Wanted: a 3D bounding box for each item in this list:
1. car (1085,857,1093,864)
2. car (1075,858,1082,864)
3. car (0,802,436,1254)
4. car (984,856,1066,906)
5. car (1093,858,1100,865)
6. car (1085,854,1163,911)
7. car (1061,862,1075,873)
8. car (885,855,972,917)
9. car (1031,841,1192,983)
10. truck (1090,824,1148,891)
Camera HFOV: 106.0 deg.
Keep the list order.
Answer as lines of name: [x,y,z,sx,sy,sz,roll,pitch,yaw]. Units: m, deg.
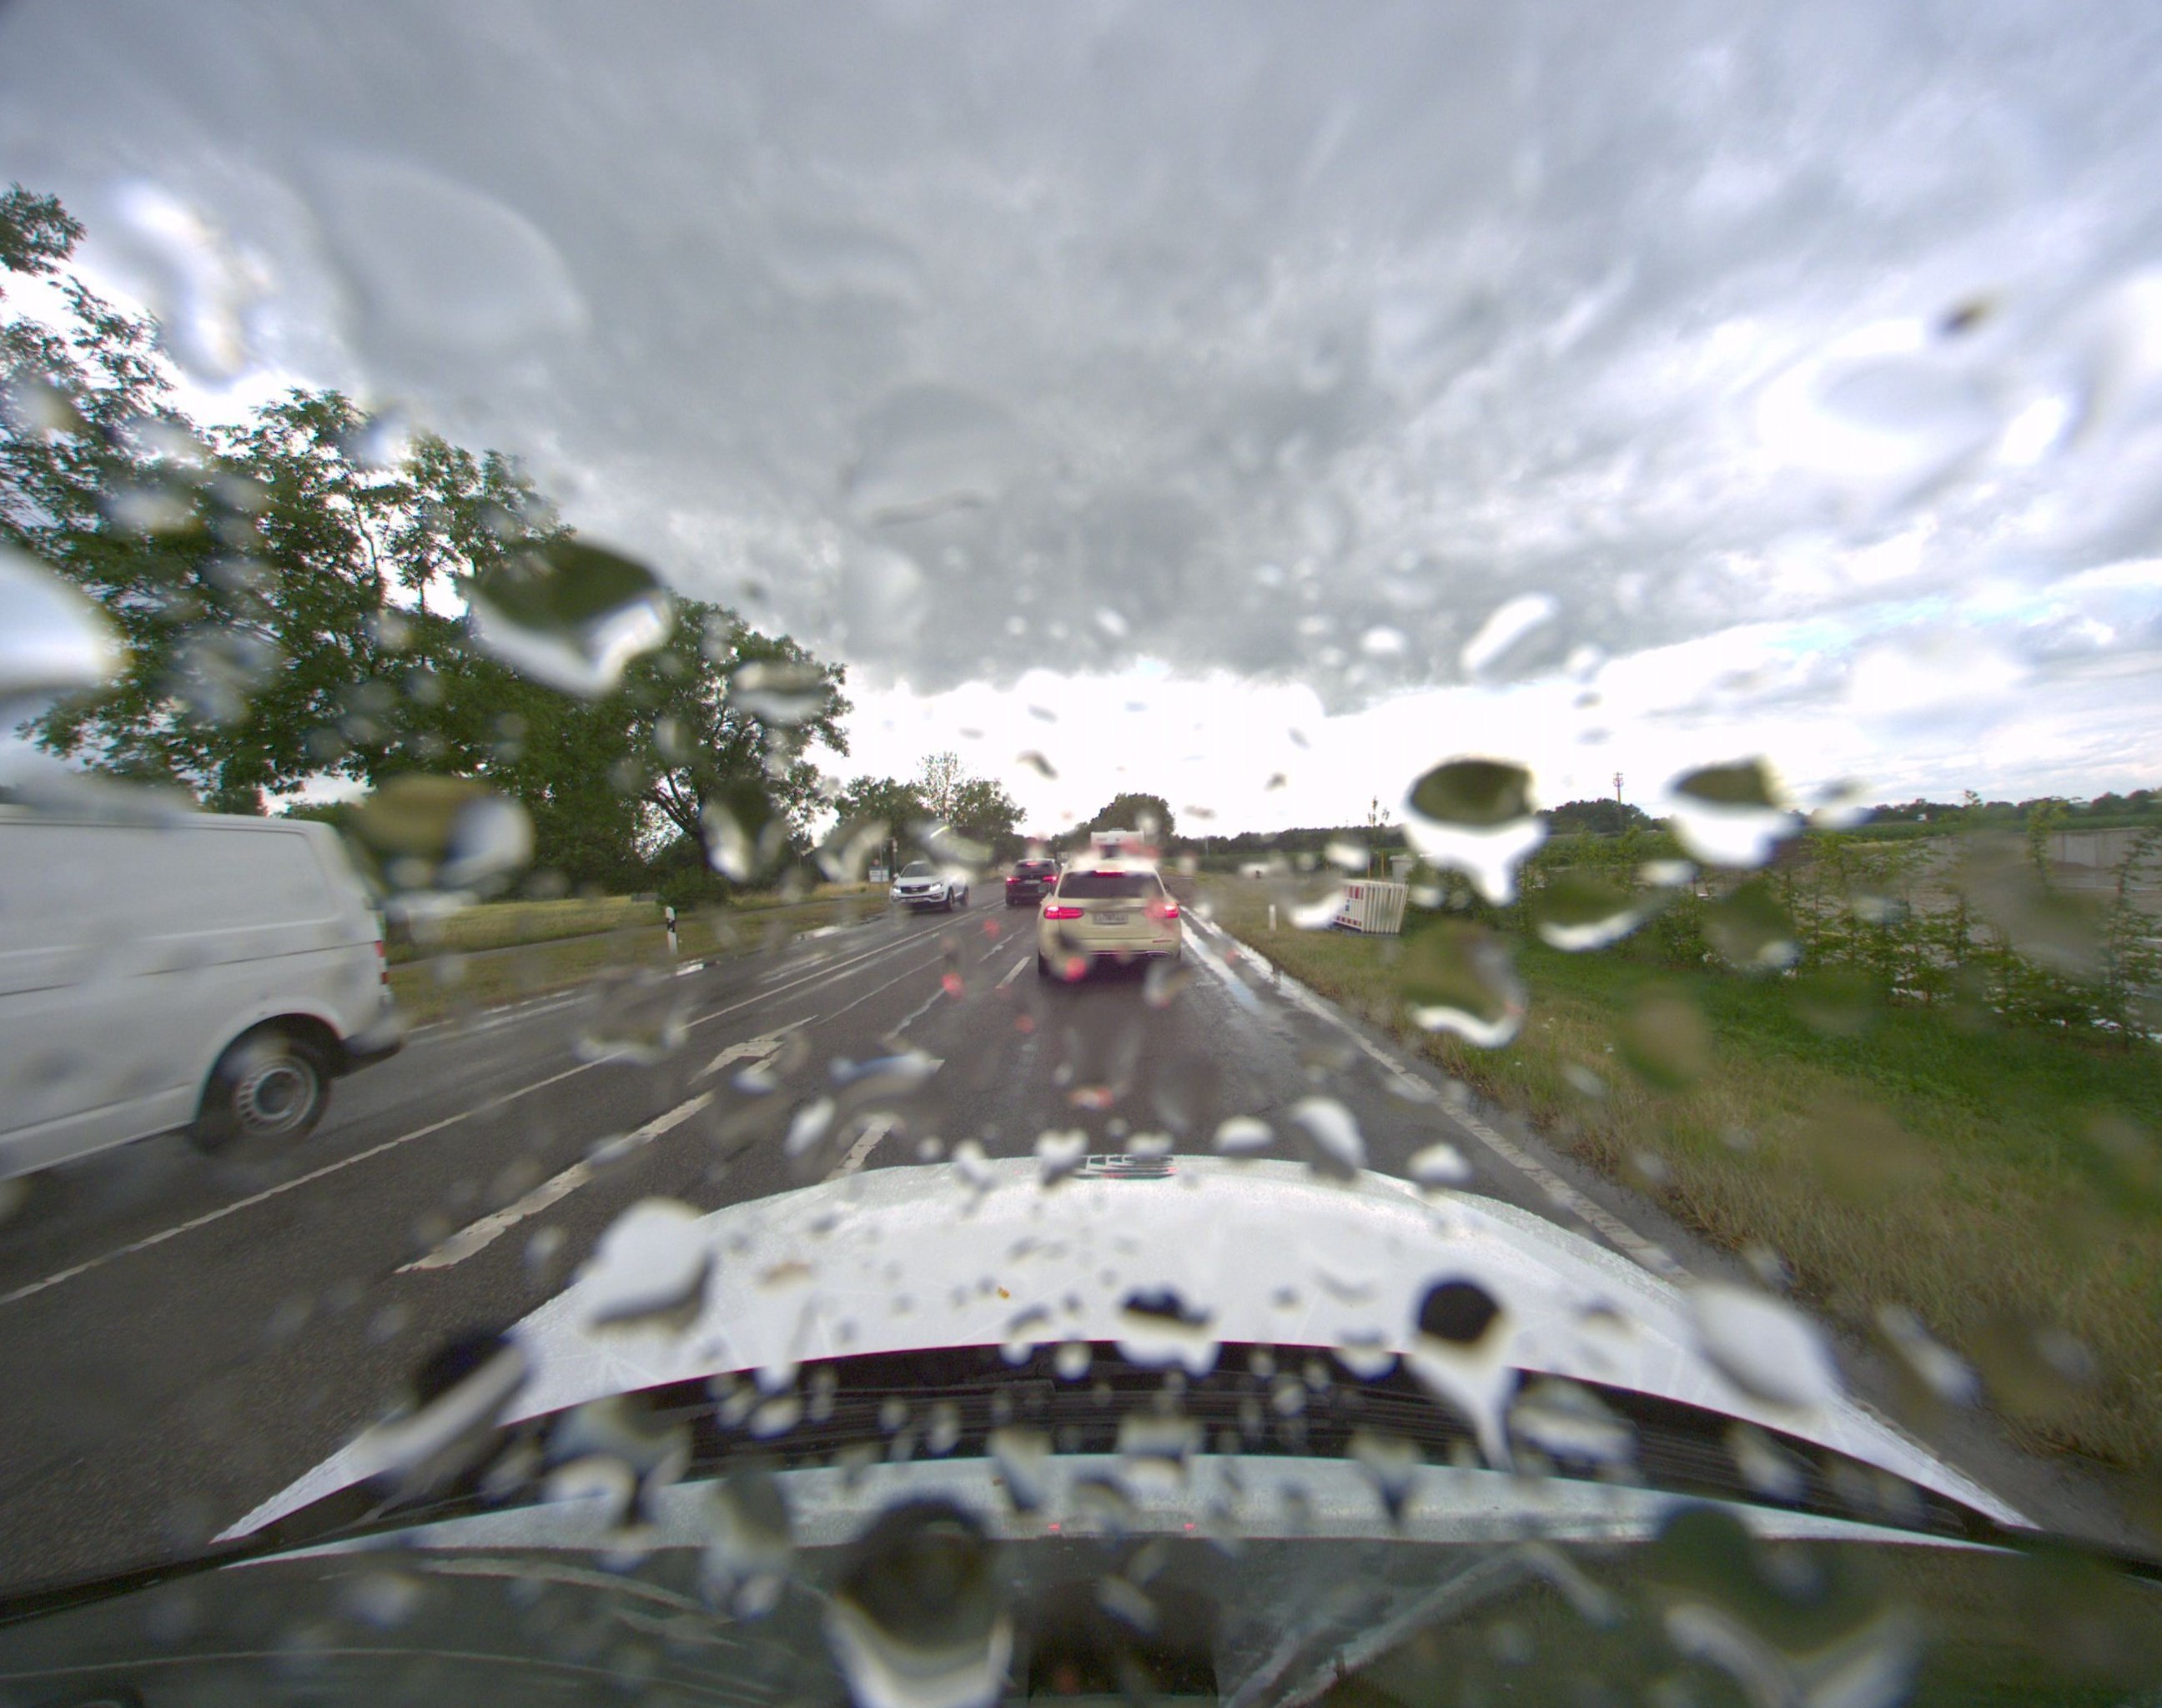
car: [1.939,1.677,208.657,1.890,1.895,3.841,-3,0,-1]
car: [-0.702,2.213,257.192,1.888,1.839,3.883,-3,0,2]
car: [-5.443,0.776,3.185,1.910,1.861,4.686,-4,-1,1]
car: [-1.790,0.865,27.743,2.293,1.547,4.634,-1,-1,2]
car: [3.493,1.635,182.406,1.676,1.550,3.754,-1,0,2]
car: [1.178,0.765,23.127,1.986,1.462,4.001,-1,-1,2]
car: [-1.809,1.838,114.668,1.713,1.404,4.044,-4,0,1]
car: [-4.736,0.941,25.891,1.697,1.671,4.158,-4,0,3]
car: [0.418,0.691,11.498,1.836,1.618,4.001,-1,0,2]
truck: [1.716,0.178,38.094,2.355,2.729,7.317,-3,0,2]
